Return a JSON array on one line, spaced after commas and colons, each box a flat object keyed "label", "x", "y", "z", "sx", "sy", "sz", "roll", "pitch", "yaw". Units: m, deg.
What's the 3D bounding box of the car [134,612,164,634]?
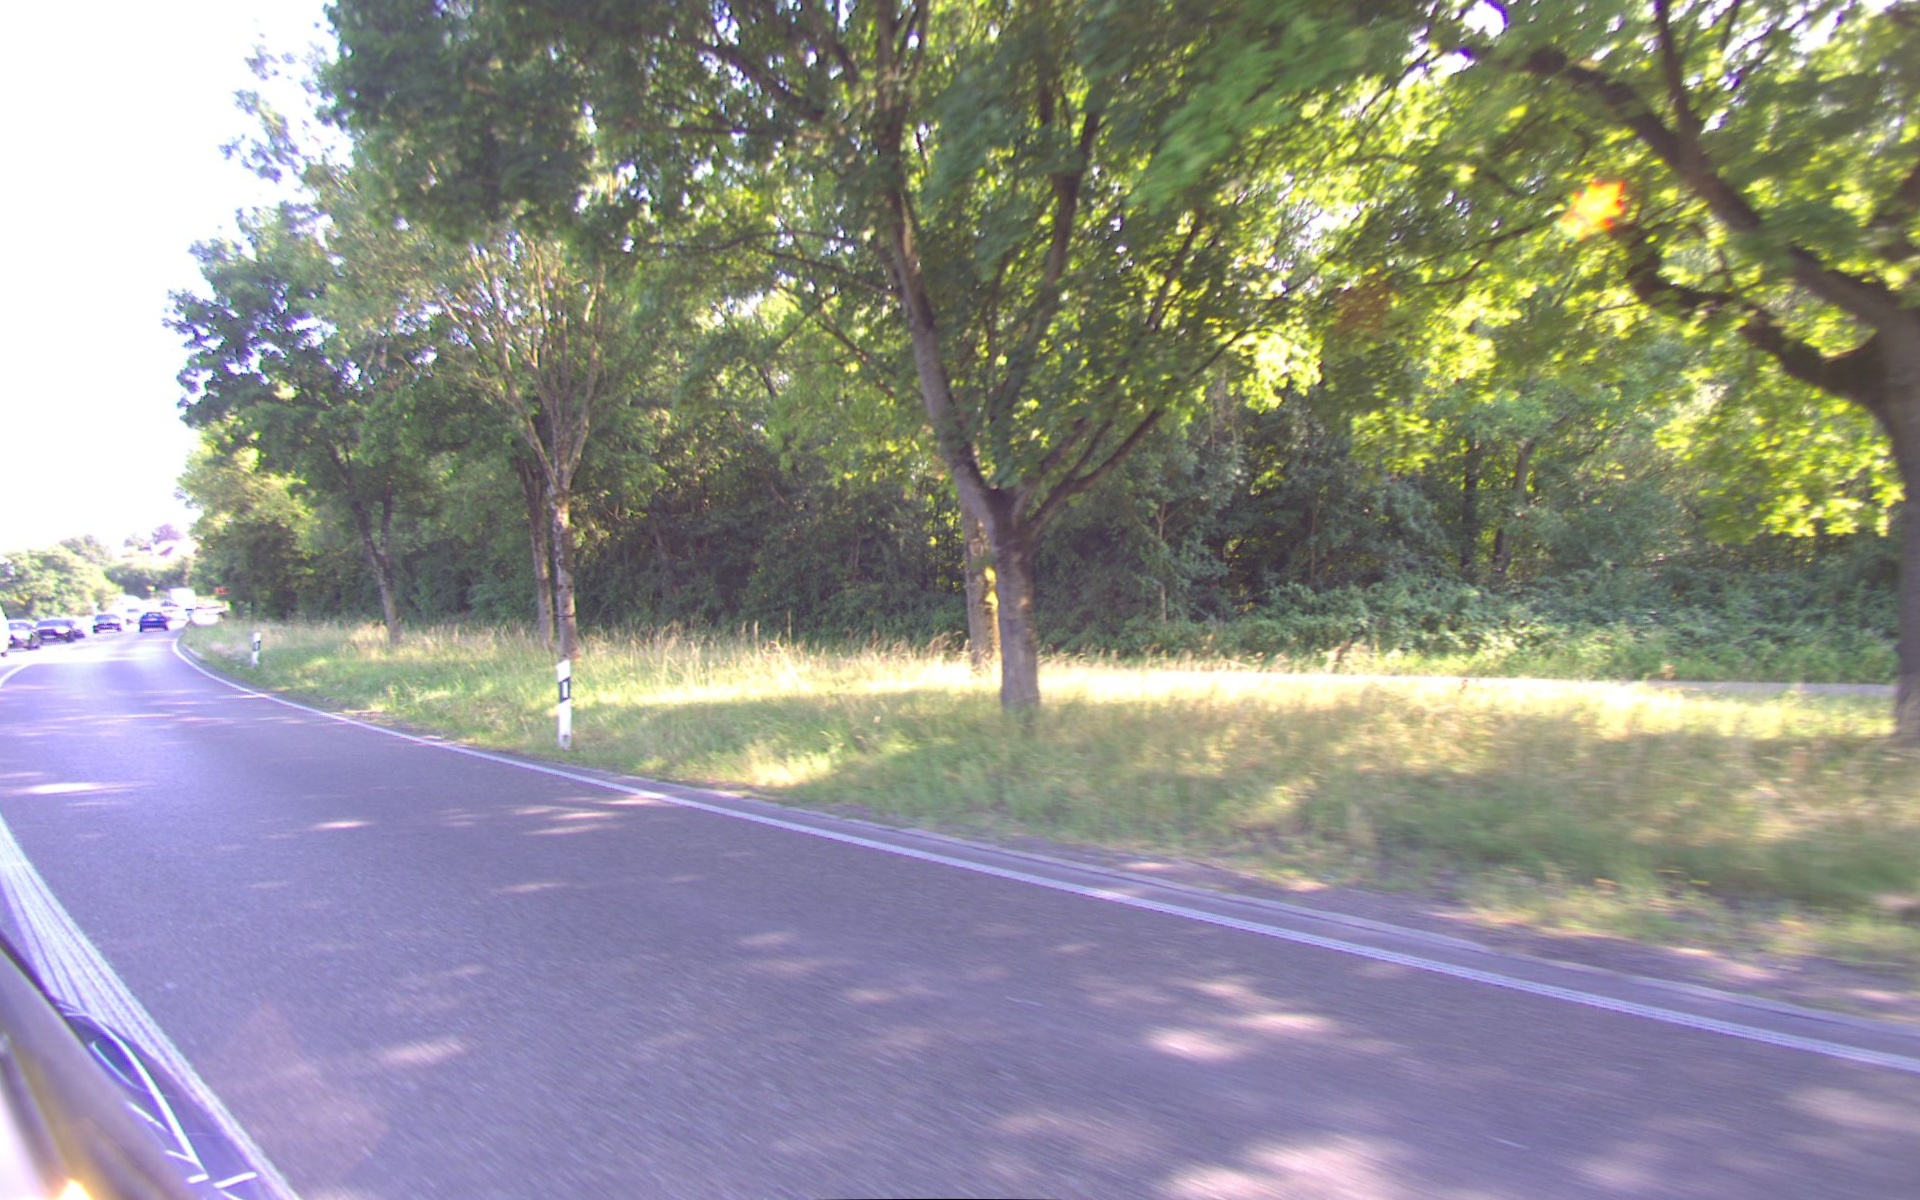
[{"label": "car", "x": -64.644, "y": 1.808, "z": 80.710, "sx": 1.872, "sy": 1.644, "sz": 4.259, "roll": -1, "pitch": 0, "yaw": -38}]

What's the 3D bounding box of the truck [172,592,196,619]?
[{"label": "truck", "x": -153.540, "y": 1.214, "z": 200.315, "sx": 3.575, "sy": 5.210, "sz": 10.484, "roll": 0, "pitch": -1, "yaw": -36}]

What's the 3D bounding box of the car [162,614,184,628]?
[{"label": "car", "x": -94.947, "y": 2.492, "z": 122.067, "sx": 1.865, "sy": 1.644, "sz": 4.261, "roll": -1, "pitch": 0, "yaw": -35}]

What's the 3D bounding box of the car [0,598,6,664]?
[{"label": "car", "x": -36.062, "y": 1.150, "z": 36.426, "sx": 2.056, "sy": 2.435, "sz": 5.152, "roll": -1, "pitch": 0, "yaw": -38}]

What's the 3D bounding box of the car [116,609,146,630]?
[{"label": "car", "x": -98.448, "y": 2.271, "z": 120.251, "sx": 2.055, "sy": 2.435, "sz": 5.157, "roll": -1, "pitch": 0, "yaw": -32}]

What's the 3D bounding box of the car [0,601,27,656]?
[{"label": "car", "x": -44.508, "y": 1.317, "z": 46.707, "sx": 2.059, "sy": 2.435, "sz": 5.147, "roll": -1, "pitch": 0, "yaw": -44}]

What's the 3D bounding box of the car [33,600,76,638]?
[{"label": "car", "x": -62.051, "y": 1.272, "z": 69.324, "sx": 2.059, "sy": 2.435, "sz": 5.147, "roll": -1, "pitch": 0, "yaw": -44}]

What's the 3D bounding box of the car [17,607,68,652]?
[{"label": "car", "x": -53.003, "y": 1.657, "z": 58.441, "sx": 2.059, "sy": 2.435, "sz": 5.147, "roll": -1, "pitch": 0, "yaw": -44}]

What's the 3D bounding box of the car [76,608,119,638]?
[{"label": "car", "x": -74.107, "y": 1.961, "z": 87.029, "sx": 2.055, "sy": 2.435, "sz": 5.157, "roll": -1, "pitch": 0, "yaw": -32}]

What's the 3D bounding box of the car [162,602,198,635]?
[{"label": "car", "x": -59.749, "y": 1.412, "z": 77.501, "sx": 2.057, "sy": 2.435, "sz": 5.152, "roll": -1, "pitch": 0, "yaw": -39}]
